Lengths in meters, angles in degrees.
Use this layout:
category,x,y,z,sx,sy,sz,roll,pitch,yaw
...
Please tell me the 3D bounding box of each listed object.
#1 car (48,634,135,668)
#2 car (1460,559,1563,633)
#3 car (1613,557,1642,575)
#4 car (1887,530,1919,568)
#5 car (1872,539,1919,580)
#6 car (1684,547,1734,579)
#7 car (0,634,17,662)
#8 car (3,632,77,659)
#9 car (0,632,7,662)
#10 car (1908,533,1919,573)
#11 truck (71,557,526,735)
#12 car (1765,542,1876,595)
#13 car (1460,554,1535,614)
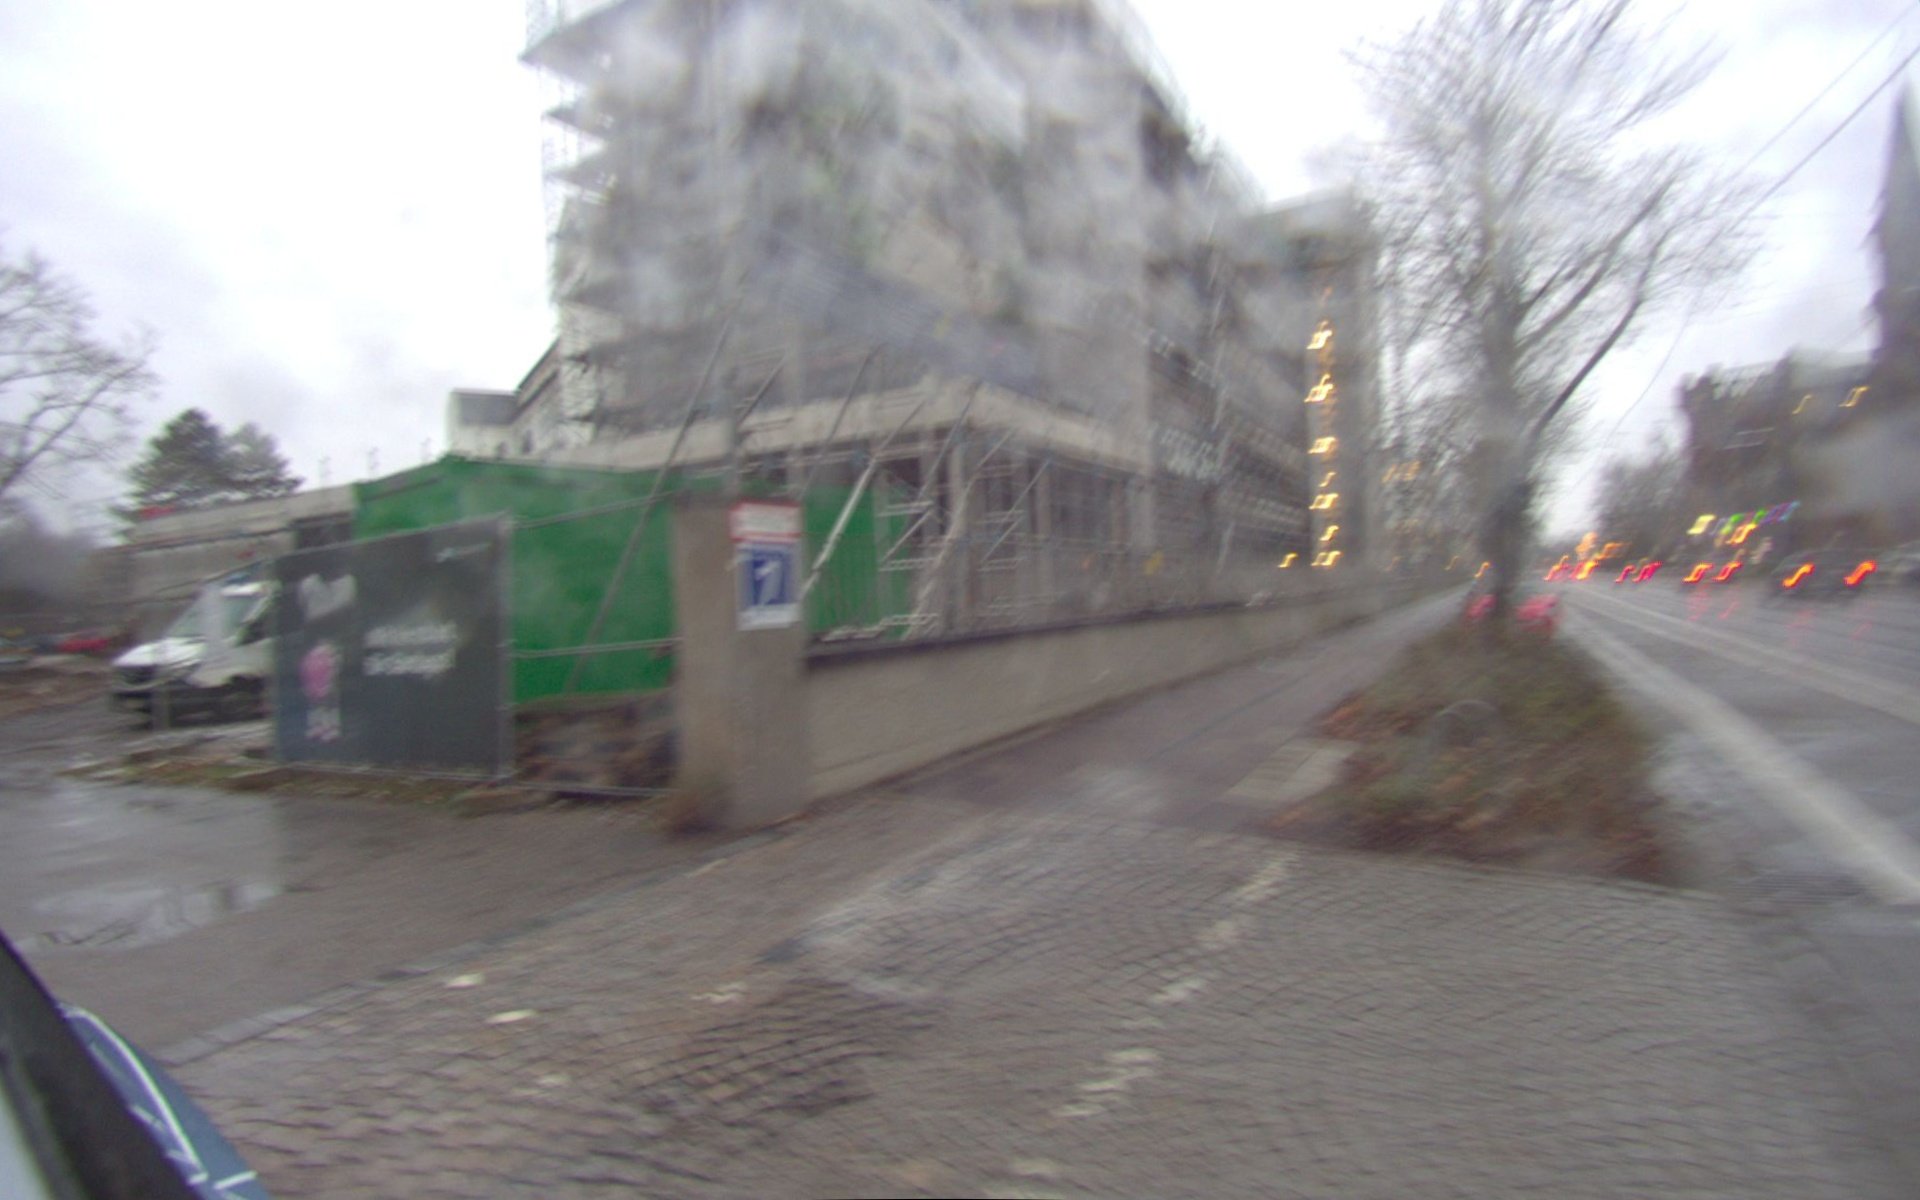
category,x,y,z,sx,sy,sz,roll,pitch,yaw
car,-45.547,2.640,53.164,3.255,1.534,1.708,-2,0,-35
car,11.846,-0.105,21.693,1.748,1.397,3.698,-2,0,30
car,57.438,-2.940,87.114,1.759,1.421,3.961,-2,0,29
car,40.138,-2.144,40.667,3.991,1.497,1.652,-2,0,35
car,41.705,-1.778,43.091,3.991,1.652,1.977,-2,0,35
car,40.133,-1.970,54.296,1.706,1.590,4.332,-2,0,32
car,-66.103,3.288,67.770,3.932,1.809,1.807,-2,0,-31
car,-70.910,3.519,78.083,3.932,1.809,1.807,-2,0,-31
car,-61.121,2.990,61.795,3.932,1.809,1.807,-2,0,-31
car,38.055,-1.855,37.511,3.991,1.497,1.652,-2,0,35
truck,-11.565,0.585,18.689,2.117,2.607,7.032,-2,2,21
car,27.919,-0.998,32.978,1.744,1.556,4.256,-2,0,27
car,15.771,-0.459,29.595,1.748,1.596,3.698,-2,0,30
